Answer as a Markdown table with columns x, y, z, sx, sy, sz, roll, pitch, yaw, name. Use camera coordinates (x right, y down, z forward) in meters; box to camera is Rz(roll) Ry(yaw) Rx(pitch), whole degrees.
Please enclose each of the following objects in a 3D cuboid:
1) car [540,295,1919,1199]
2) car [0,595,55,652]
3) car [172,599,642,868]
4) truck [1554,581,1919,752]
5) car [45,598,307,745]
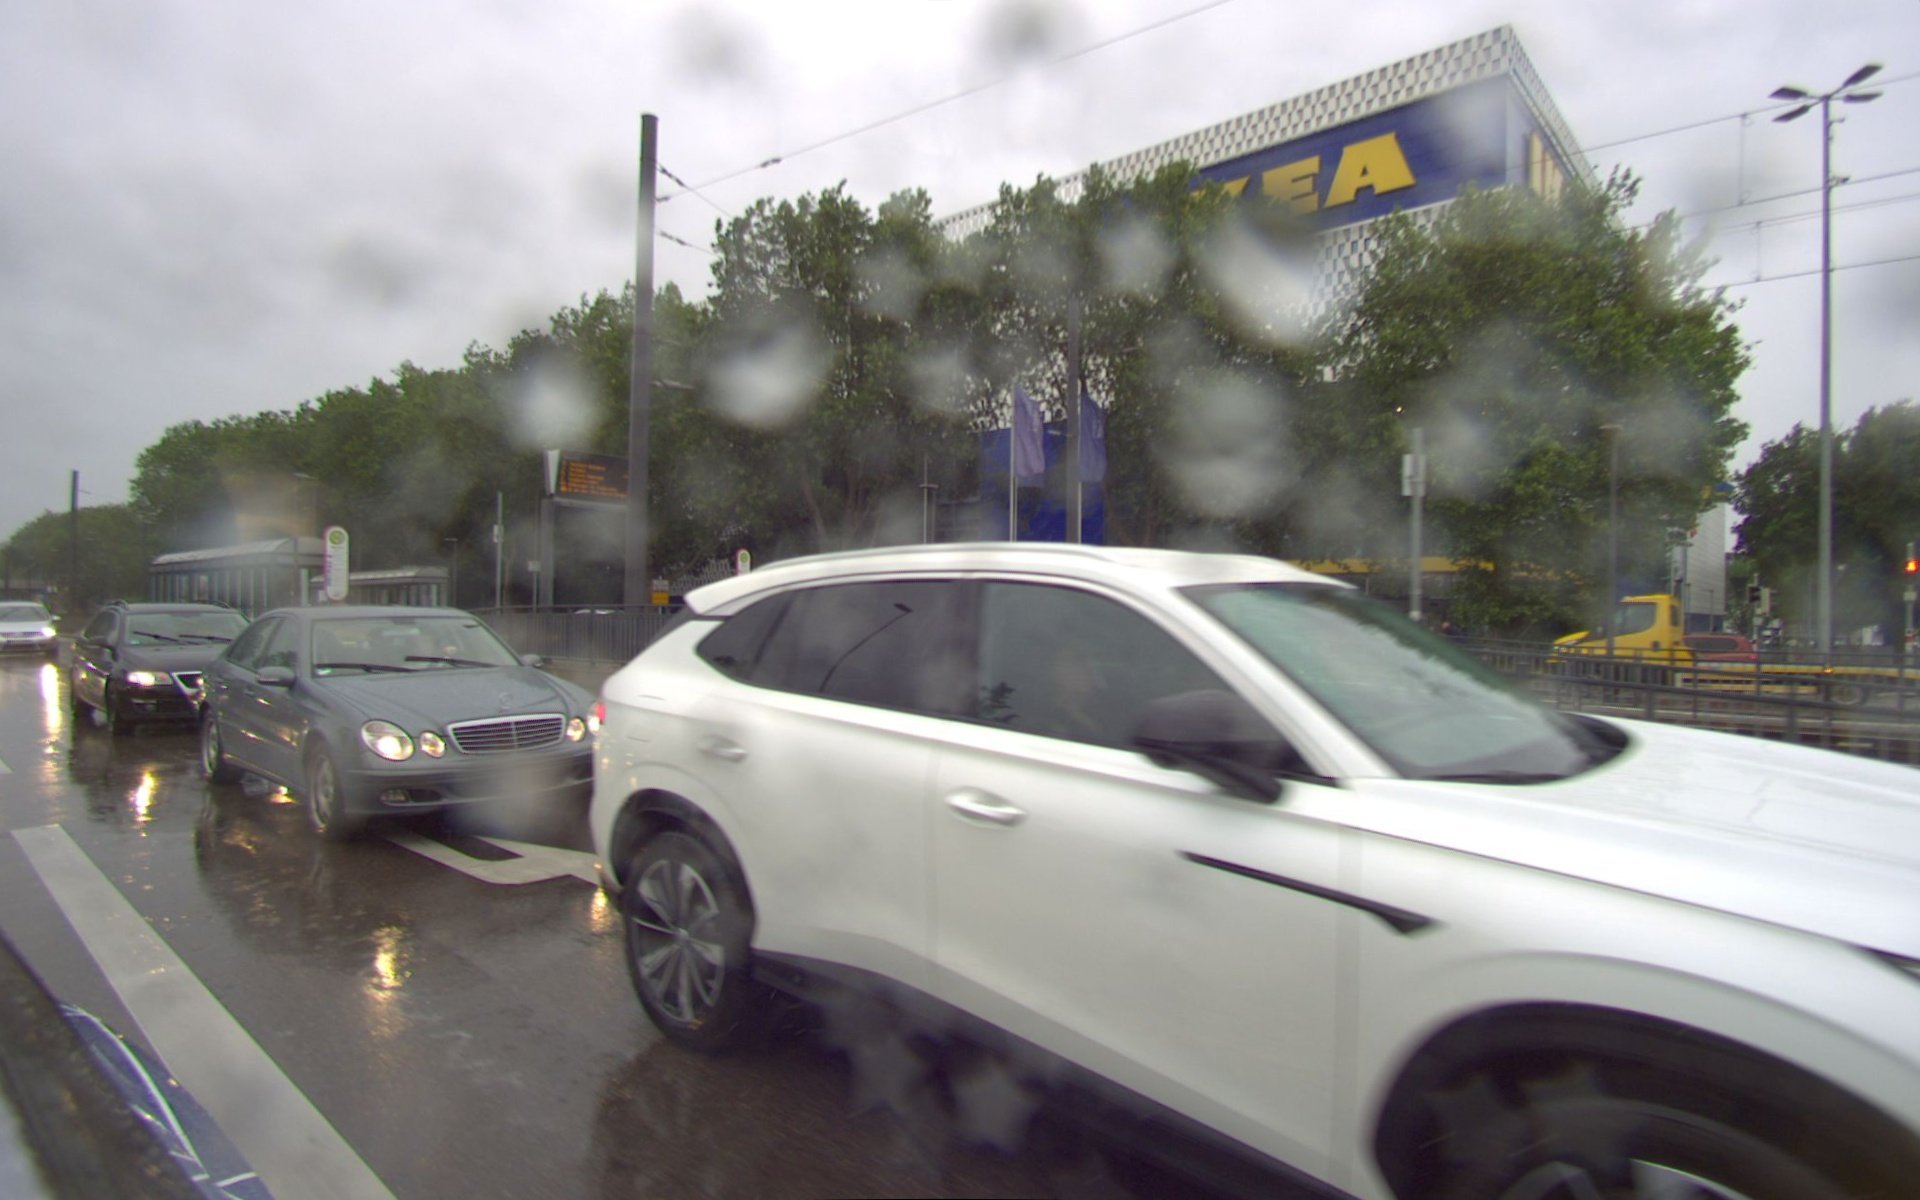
| x | y | z | sx | sy | sz | roll | pitch | yaw | name |
| --- | --- | --- | --- | --- | --- | --- | --- | --- | --- |
| 0.809 | 0.525 | 2.952 | 4.551 | 1.802 | 1.968 | -1 | 0 | 42 | car |
| -27.413 | 0.704 | 29.046 | 4.041 | 1.536 | 1.693 | -2 | -1 | 42 | car |
| -4.413 | 0.752 | 7.668 | 4.696 | 1.424 | 1.693 | -1 | 0 | 42 | car |
| 16.805 | 1.141 | 19.223 | 2.708 | 2.870 | 9.102 | -1 | 2 | -44 | truck |
| -9.881 | 0.762 | 12.602 | 4.695 | 1.485 | 1.730 | -1 | 0 | 41 | car |
